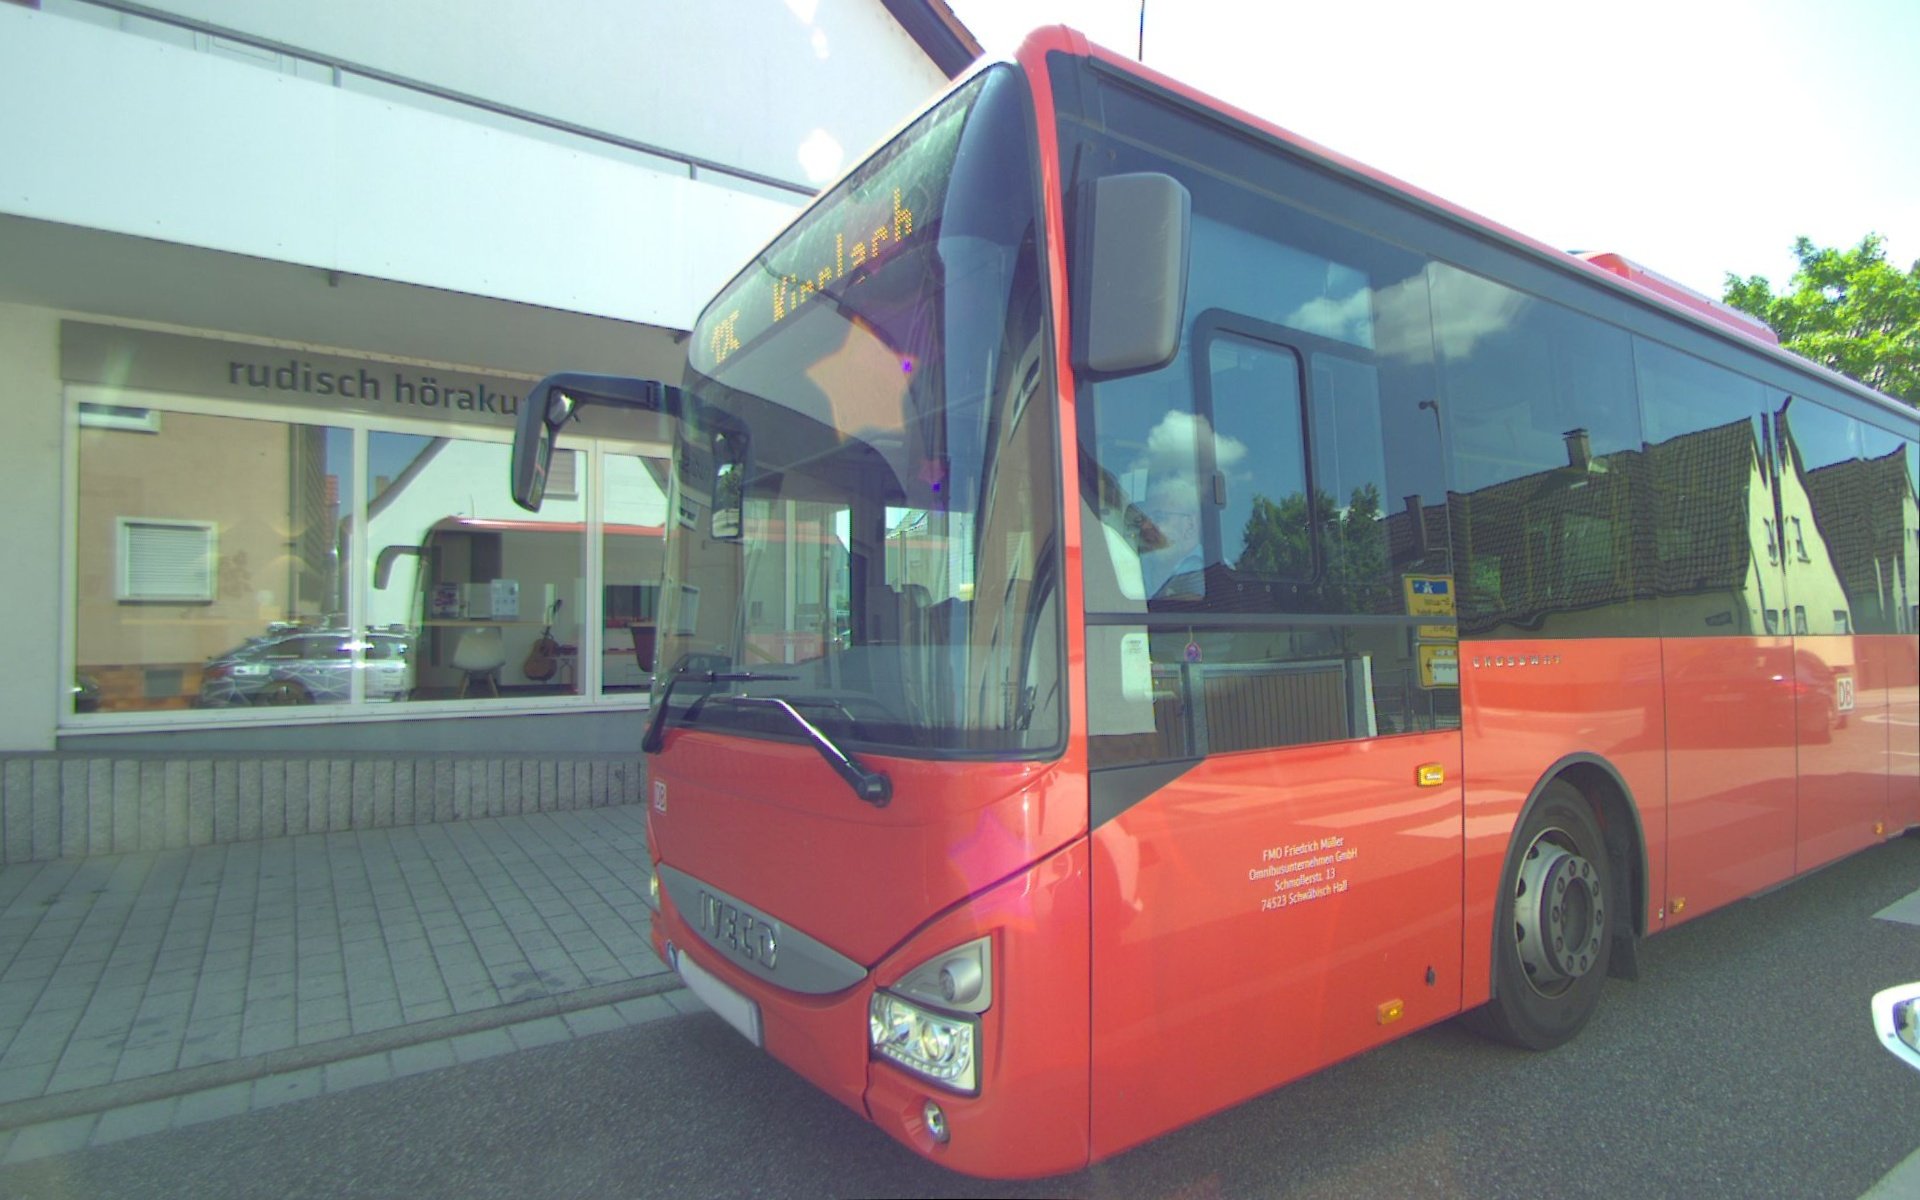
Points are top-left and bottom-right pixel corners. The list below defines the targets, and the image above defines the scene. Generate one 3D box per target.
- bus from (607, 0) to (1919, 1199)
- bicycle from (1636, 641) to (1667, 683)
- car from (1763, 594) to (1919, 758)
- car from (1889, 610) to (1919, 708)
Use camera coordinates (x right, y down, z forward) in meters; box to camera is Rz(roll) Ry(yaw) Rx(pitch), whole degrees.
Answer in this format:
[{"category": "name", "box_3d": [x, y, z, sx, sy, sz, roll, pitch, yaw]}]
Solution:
[{"category": "bus", "box_3d": [4.135, 0.044, 6.504, 11.901, 3.274, 2.610, 1, -3, -35]}, {"category": "bicycle", "box_3d": [18.609, 1.652, 27.018, 0.395, 1.017, 1.970, -1, 0, 43]}, {"category": "car", "box_3d": [11.915, 0.897, 13.295, 1.752, 1.845, 4.418, -3, -3, 41]}, {"category": "car", "box_3d": [19.345, 1.027, 17.389, 4.463, 1.732, 1.868, -1, -2, 31]}]
